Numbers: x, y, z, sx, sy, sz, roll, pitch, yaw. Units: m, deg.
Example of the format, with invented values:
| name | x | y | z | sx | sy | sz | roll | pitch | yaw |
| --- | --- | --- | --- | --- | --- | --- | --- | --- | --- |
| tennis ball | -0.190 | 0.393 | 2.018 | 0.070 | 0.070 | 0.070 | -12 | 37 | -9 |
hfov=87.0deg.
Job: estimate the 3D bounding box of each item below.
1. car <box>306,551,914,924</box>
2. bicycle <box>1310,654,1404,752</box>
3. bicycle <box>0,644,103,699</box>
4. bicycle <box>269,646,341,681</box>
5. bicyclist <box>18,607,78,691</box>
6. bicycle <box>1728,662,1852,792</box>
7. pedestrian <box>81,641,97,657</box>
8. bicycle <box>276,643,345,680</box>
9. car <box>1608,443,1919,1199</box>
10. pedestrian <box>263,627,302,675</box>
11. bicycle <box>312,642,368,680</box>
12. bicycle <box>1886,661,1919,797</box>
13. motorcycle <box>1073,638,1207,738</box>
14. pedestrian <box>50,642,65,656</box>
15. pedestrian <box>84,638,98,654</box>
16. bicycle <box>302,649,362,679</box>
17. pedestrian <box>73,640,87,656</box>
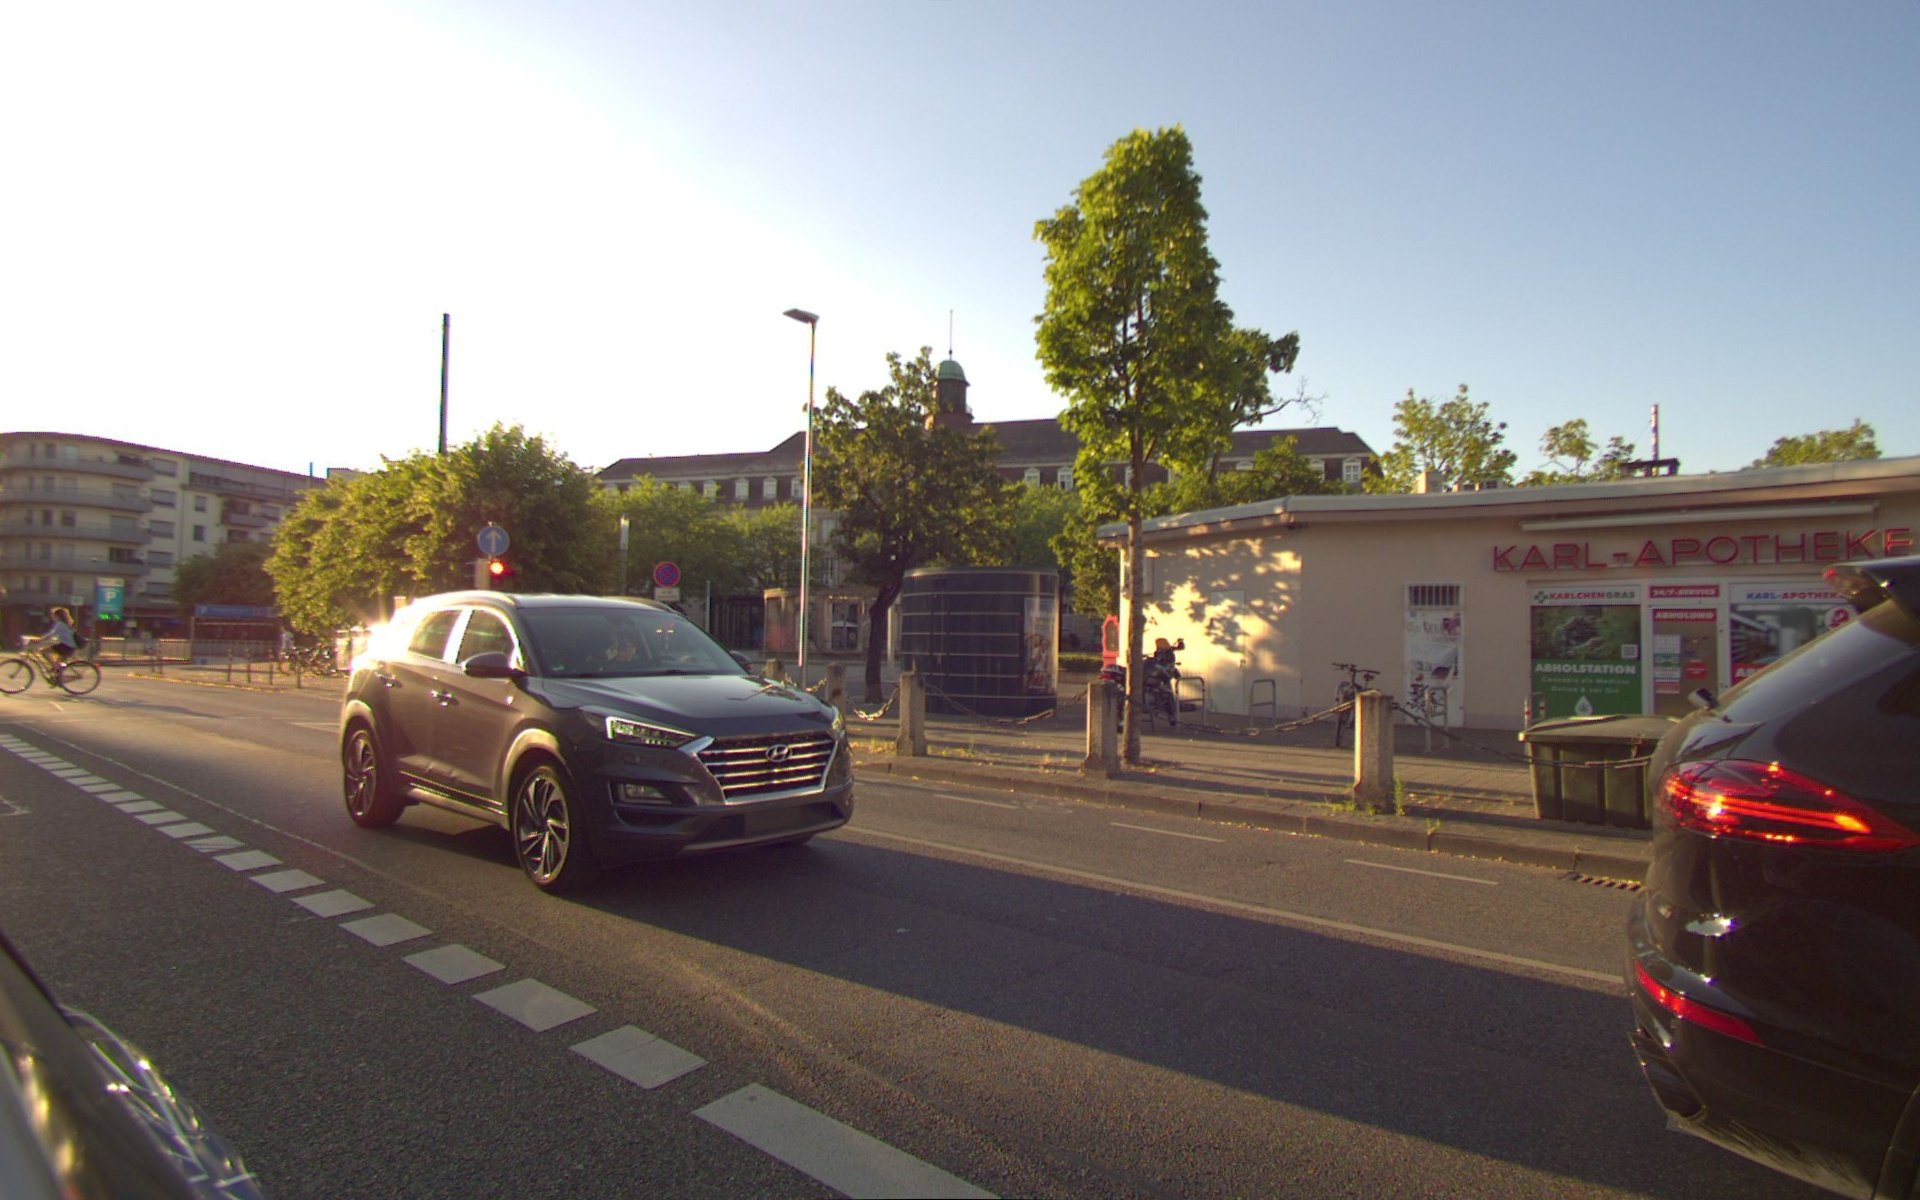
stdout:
| name | x | y | z | sx | sy | sz | roll | pitch | yaw |
| --- | --- | --- | --- | --- | --- | --- | --- | --- | --- |
| car | -2.564 | 0.738 | 6.817 | 4.447 | 1.702 | 1.853 | -2 | -5 | 41 |
| bicycle | 5.523 | 1.386 | 14.032 | 0.632 | 1.266 | 1.834 | -2 | -4 | 41 |
| bicycle | -19.454 | 1.514 | 21.426 | 1.889 | 1.126 | 0.707 | 3 | -3 | -33 |
| bicycle | -22.453 | 2.153 | 34.713 | 0.548 | 1.143 | 2.007 | -2 | -2 | 36 |
| bicyclist | -19.398 | 1.046 | 21.550 | 0.766 | 1.737 | 0.857 | 3 | -4 | -34 |
| bicycle | 9.093 | 1.318 | 11.062 | 0.949 | 1.266 | 1.984 | -2 | -4 | 41 |
| pedestrian | -74.825 | 4.197 | 86.962 | 0.814 | 1.332 | 0.684 | -1 | -3 | 16 |
| bicycle | -23.315 | 2.187 | 36.348 | 0.548 | 1.262 | 2.007 | -2 | -2 | 36 |
| car | 3.717 | 0.578 | 1.368 | 4.558 | 1.727 | 1.929 | -2 | -4 | 40 |
| pedestrian | -26.473 | 2.003 | 39.566 | 0.938 | 1.831 | 0.827 | 1 | -3 | -7 |
| bicycle | -21.141 | 2.068 | 34.542 | 0.444 | 1.262 | 1.571 | -2 | -2 | 38 |
| bicycle | 9.945 | 1.259 | 10.218 | 0.787 | 1.266 | 2.418 | -2 | -4 | 41 |
| motorcycle | 2.866 | 1.343 | 15.860 | 0.868 | 1.440 | 2.554 | -2 | -4 | 41 |
| pedestrian | -74.843 | 4.068 | 83.954 | 0.875 | 1.201 | 0.734 | 2 | -4 | -40 |
| pedestrian | -74.503 | 3.950 | 86.742 | 0.887 | 1.332 | 0.723 | -2 | -3 | 38 |
| bicycle | -21.564 | 2.182 | 34.782 | 0.548 | 0.986 | 1.658 | -2 | -2 | 36 |
| pedestrian | -74.918 | 4.089 | 86.124 | 0.888 | 1.332 | 0.723 | -2 | -3 | 39 |
